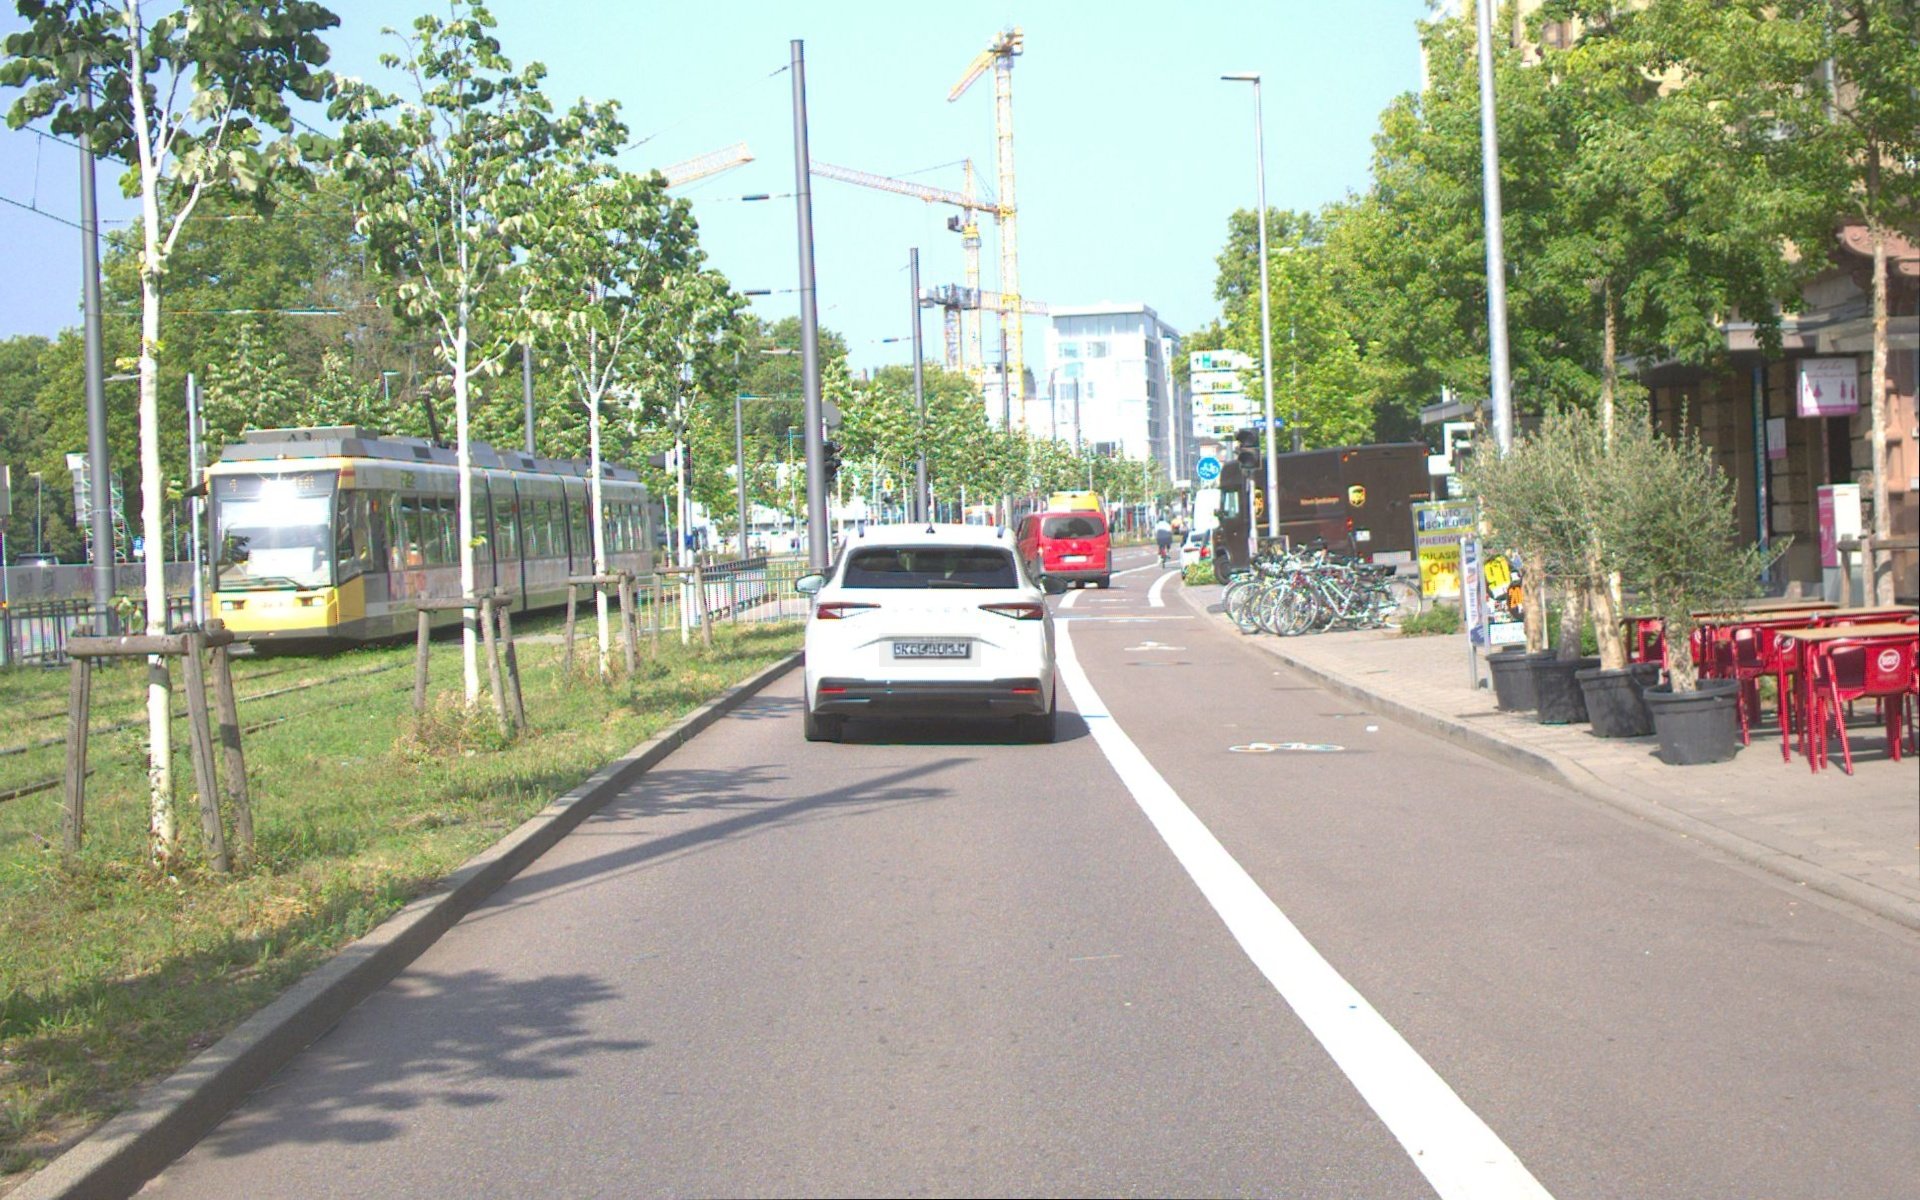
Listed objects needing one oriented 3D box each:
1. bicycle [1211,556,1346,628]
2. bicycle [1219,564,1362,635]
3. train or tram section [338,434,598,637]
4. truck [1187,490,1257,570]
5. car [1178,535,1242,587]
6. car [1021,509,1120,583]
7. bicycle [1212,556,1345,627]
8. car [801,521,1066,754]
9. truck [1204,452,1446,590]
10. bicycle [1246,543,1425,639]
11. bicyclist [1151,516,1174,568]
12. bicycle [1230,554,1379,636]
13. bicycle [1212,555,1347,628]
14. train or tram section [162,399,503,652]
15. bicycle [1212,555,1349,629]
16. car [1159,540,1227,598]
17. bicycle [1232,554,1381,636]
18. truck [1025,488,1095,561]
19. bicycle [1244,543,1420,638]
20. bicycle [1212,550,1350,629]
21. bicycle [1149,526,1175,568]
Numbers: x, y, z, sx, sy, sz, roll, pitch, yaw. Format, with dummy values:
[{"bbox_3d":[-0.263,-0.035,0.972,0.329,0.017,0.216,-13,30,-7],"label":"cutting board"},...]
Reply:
[{"bbox_3d":[4.772,-0.127,51.562,1.935,0.942,0.428,-4,1,4],"label":"bicycle"},{"bbox_3d":[4.668,-0.008,48.601,1.934,0.871,0.440,-4,1,1],"label":"bicycle"},{"bbox_3d":[-9.639,-1.243,69.065,2.898,3.574,12.933,-2,1,1],"label":"train or tram section"},{"bbox_3d":[8.556,-2.276,112.444,1.993,2.500,4.000,-2,1,1],"label":"truck"},{"bbox_3d":[7.213,-1.137,98.933,1.650,1.380,3.525,-2,1,7],"label":"car"},{"bbox_3d":[2.639,-1.312,83.089,1.993,1.678,4.369,-2,1,-3],"label":"car"},{"bbox_3d":[4.813,-0.130,52.004,1.935,0.942,0.428,-4,1,4],"label":"bicycle"},{"bbox_3d":[-0.216,0.228,26.218,1.817,1.584,4.407,-1,1,-1],"label":"car"},{"bbox_3d":[8.377,-1.784,79.822,2.509,3.001,6.962,-2,1,-22],"label":"truck"},{"bbox_3d":[4.955,-0.125,45.474,2.239,1.100,0.588,-4,1,1],"label":"bicycle"},{"bbox_3d":[7.441,-2.122,126.367,0.709,1.889,0.843,-2,1,1],"label":"bicyclist"},{"bbox_3d":[4.747,-0.074,47.399,1.955,0.983,0.471,-4,1,1],"label":"bicycle"},{"bbox_3d":[4.746,-0.124,51.179,1.935,0.942,0.440,-4,1,4],"label":"bicycle"},{"bbox_3d":[-9.986,-1.149,56.386,2.898,3.574,12.477,-2,1,1],"label":"train or tram section"},{"bbox_3d":[4.719,-0.121,50.700,1.935,0.942,0.440,-4,1,4],"label":"bicycle"},{"bbox_3d":[6.439,-0.866,94.714,1.650,1.494,3.525,-2,1,7],"label":"car"},{"bbox_3d":[4.726,-0.071,46.919,1.934,0.983,0.471,-4,1,1],"label":"bicycle"},{"bbox_3d":[3.357,-2.540,115.848,2.213,2.310,5.890,-2,1,1],"label":"truck"},{"bbox_3d":[4.974,-0.129,46.029,2.239,1.100,0.519,-4,1,1],"label":"bicycle"},{"bbox_3d":[4.691,-0.155,50.253,1.935,1.009,0.440,-4,1,4],"label":"bicycle"},{"bbox_3d":[7.439,-1.950,126.531,0.781,1.491,2.800,-2,1,1],"label":"bicycle"}]
